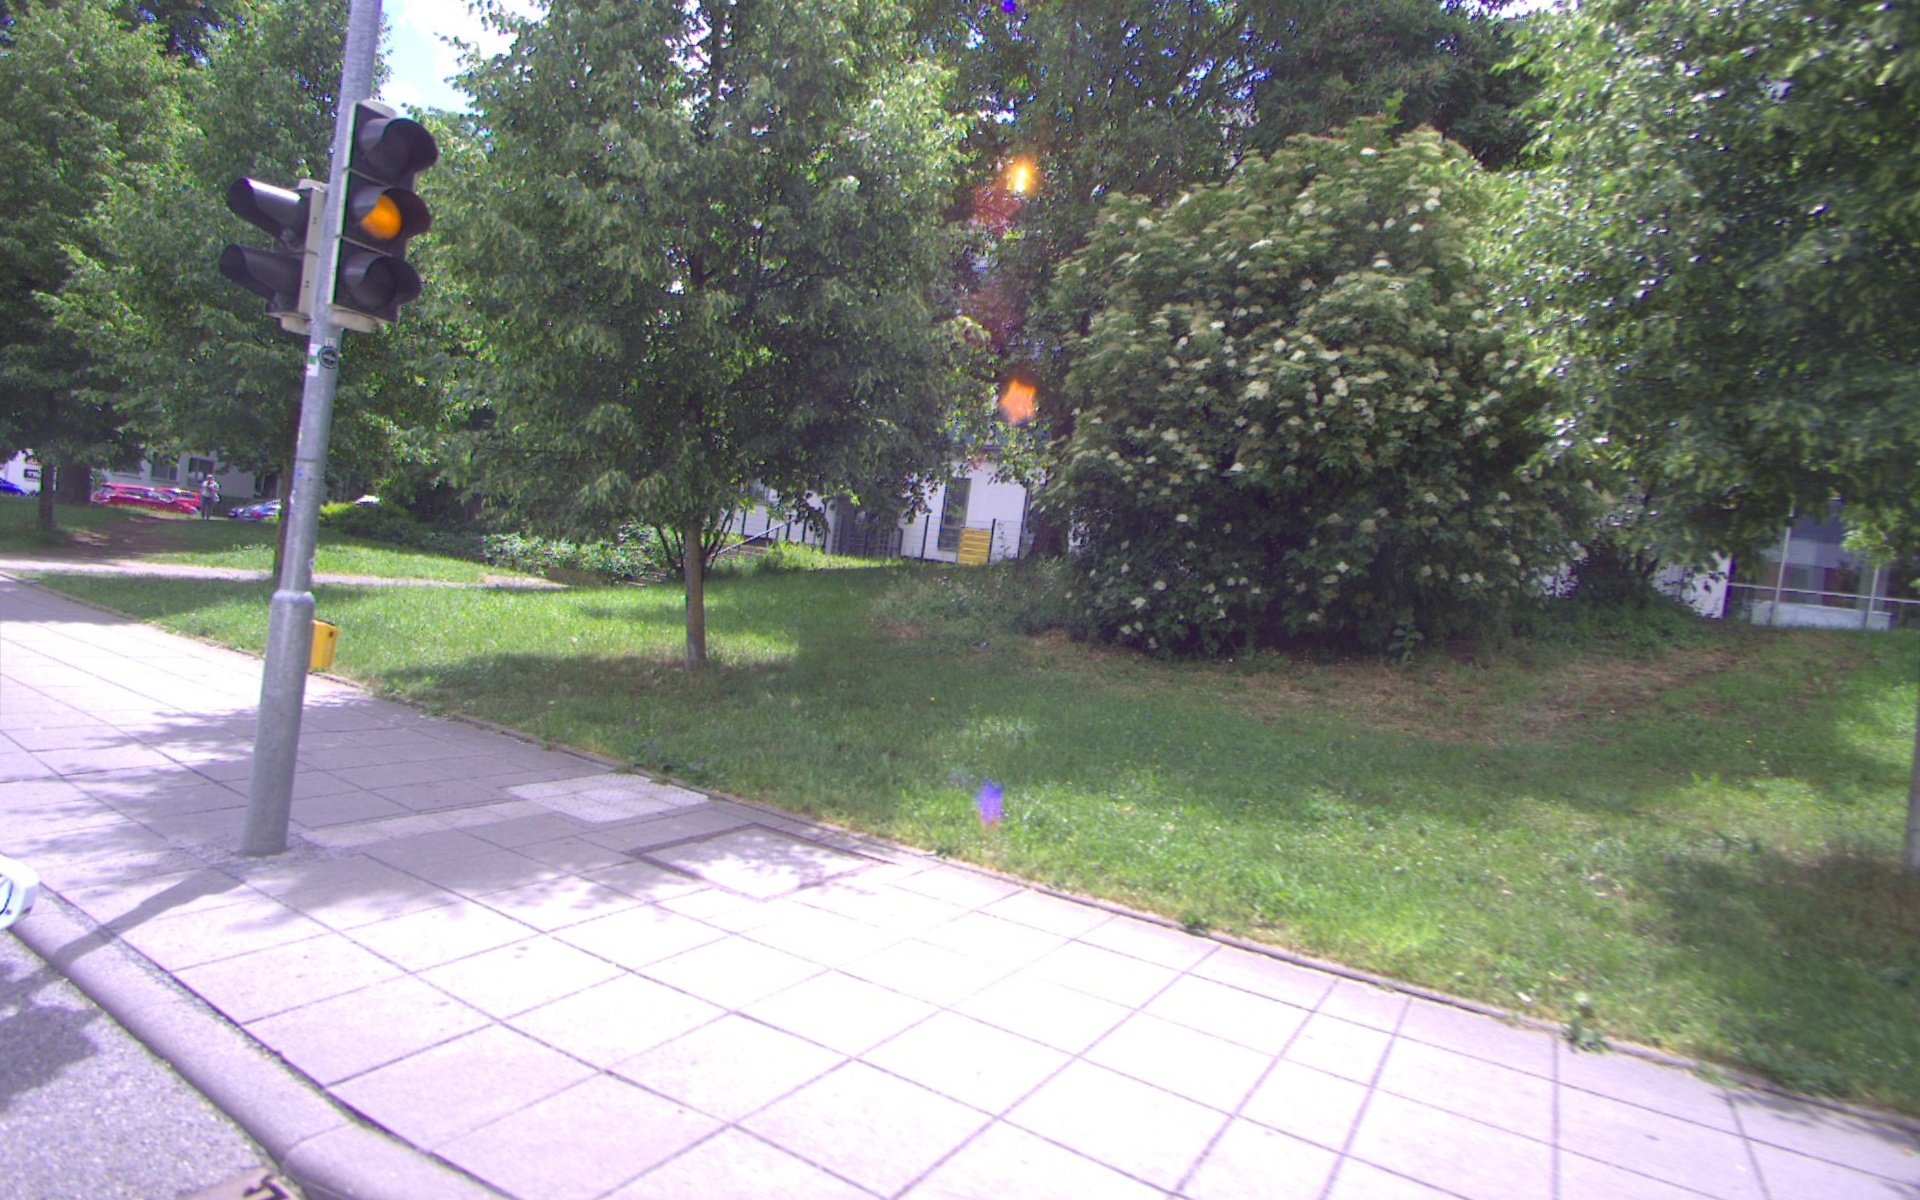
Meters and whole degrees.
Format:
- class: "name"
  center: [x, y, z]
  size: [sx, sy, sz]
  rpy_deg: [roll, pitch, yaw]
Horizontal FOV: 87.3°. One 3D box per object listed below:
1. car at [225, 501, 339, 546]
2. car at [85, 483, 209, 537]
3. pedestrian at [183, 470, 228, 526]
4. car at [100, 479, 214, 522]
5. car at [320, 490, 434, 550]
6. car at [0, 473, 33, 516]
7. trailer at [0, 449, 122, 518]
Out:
- class: "car"
  center: [-32.999, -3.700, 49.071]
  size: [1.964, 1.579, 4.087]
  rpy_deg: [8, 1, 26]
- class: "car"
  center: [-35.503, -3.910, 44.005]
  size: [1.797, 1.664, 3.695]
  rpy_deg: [9, 1, 27]
- class: "pedestrian"
  center: [-26.527, -3.576, 35.352]
  size: [0.846, 1.783, 0.984]
  rpy_deg: [7, 1, 39]
- class: "car"
  center: [-41.414, -5.125, 51.949]
  size: [1.965, 1.522, 4.087]
  rpy_deg: [9, 2, 27]
- class: "car"
  center: [-35.943, -4.881, 62.203]
  size: [2.166, 2.902, 5.585]
  rpy_deg: [7, 1, 29]
- class: "car"
  center: [-38.195, -4.249, 38.294]
  size: [1.863, 1.476, 3.799]
  rpy_deg: [9, 2, 27]
- class: "trailer"
  center: [-43.408, -5.585, 48.066]
  size: [2.182, 2.518, 4.547]
  rpy_deg: [9, 1, 28]
